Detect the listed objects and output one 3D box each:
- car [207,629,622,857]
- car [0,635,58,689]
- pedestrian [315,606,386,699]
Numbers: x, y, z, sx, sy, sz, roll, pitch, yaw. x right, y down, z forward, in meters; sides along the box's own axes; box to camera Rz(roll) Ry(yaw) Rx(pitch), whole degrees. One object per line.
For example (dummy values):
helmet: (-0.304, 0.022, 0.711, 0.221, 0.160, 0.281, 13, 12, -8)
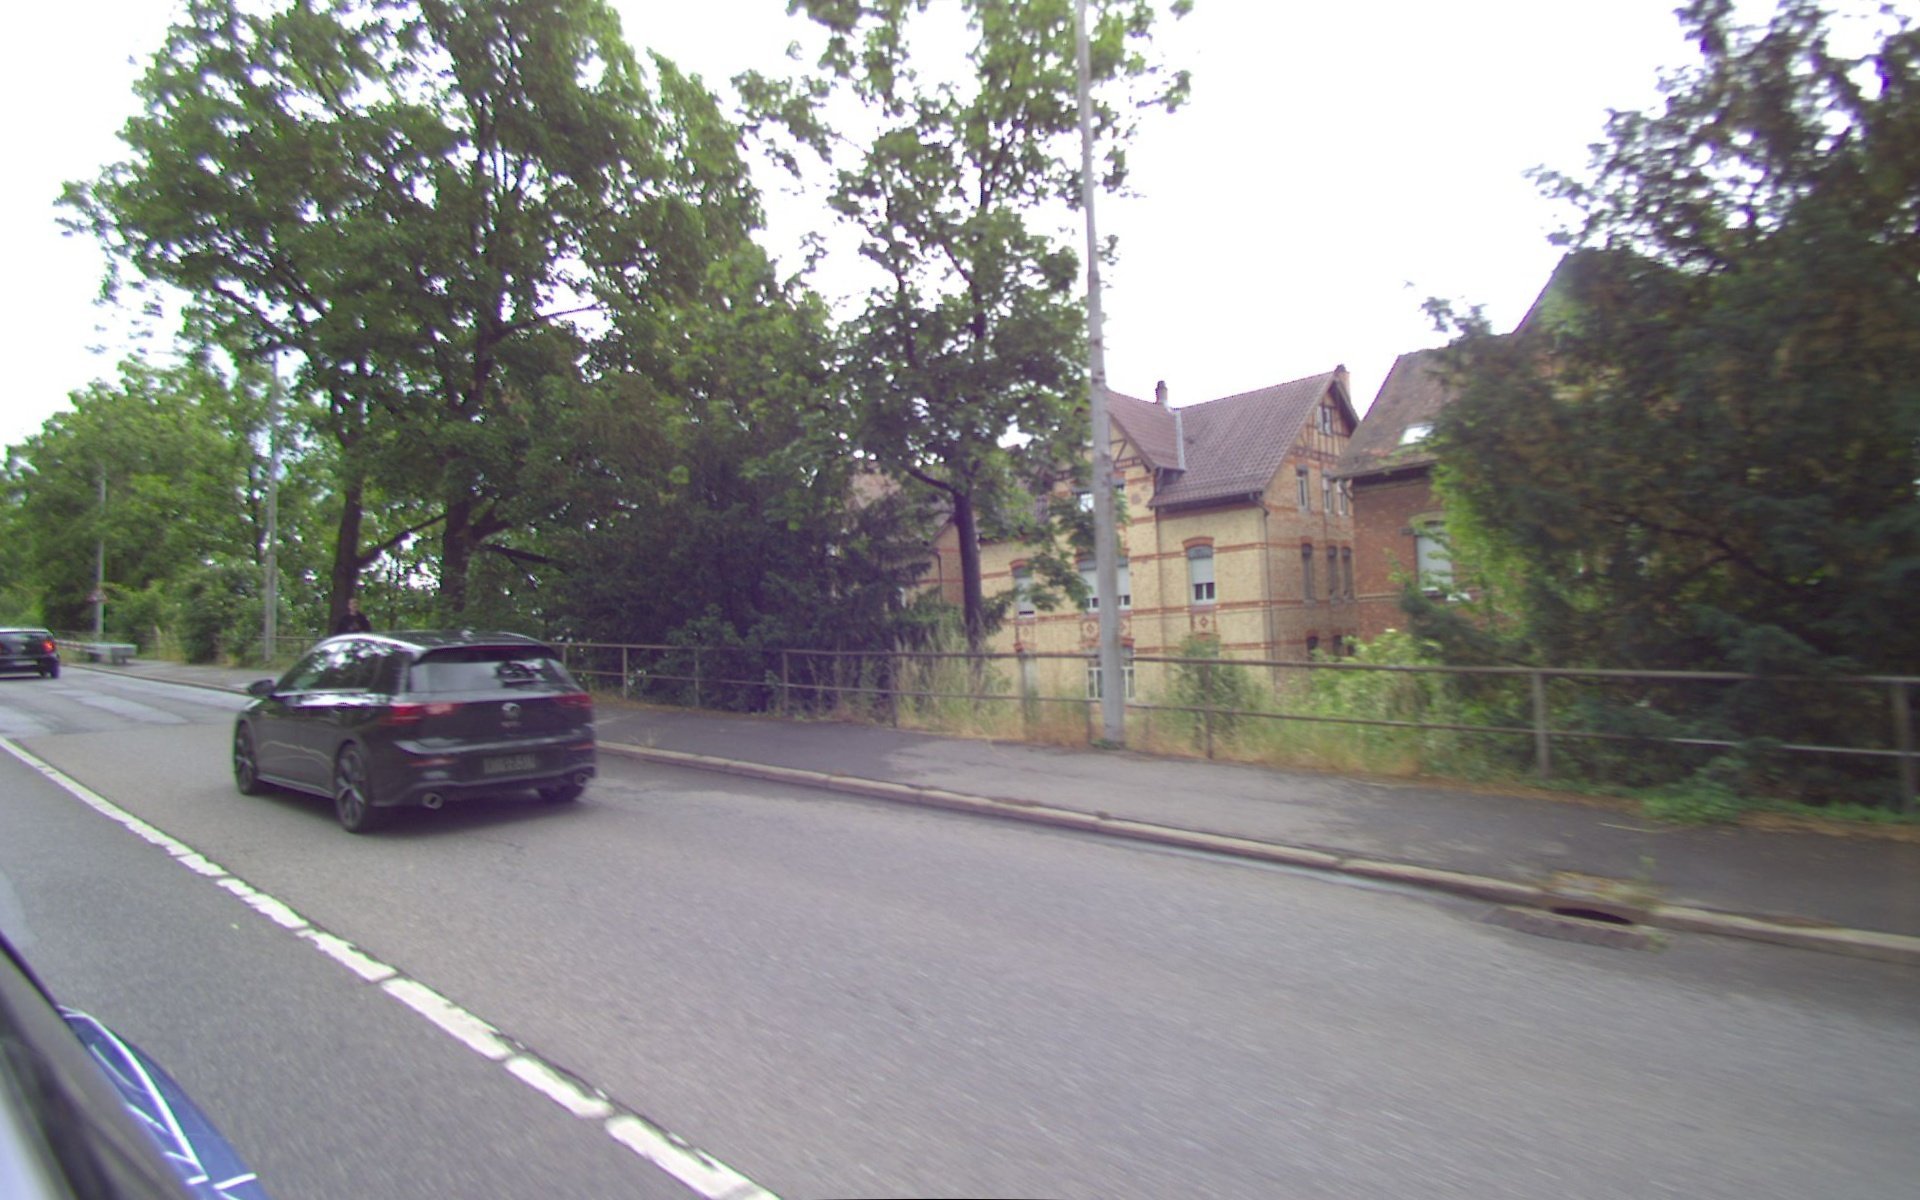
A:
car: (-4.736, 0.990, 8.524, 4.135, 1.438, 1.695, -2, -2, 40)
car: (-27.354, 1.760, 29.141, 3.687, 1.458, 1.651, -2, -2, 42)
pedestrian: (-12.382, 1.046, 20.564, 1.207, 1.787, 0.781, -2, 1, 39)
